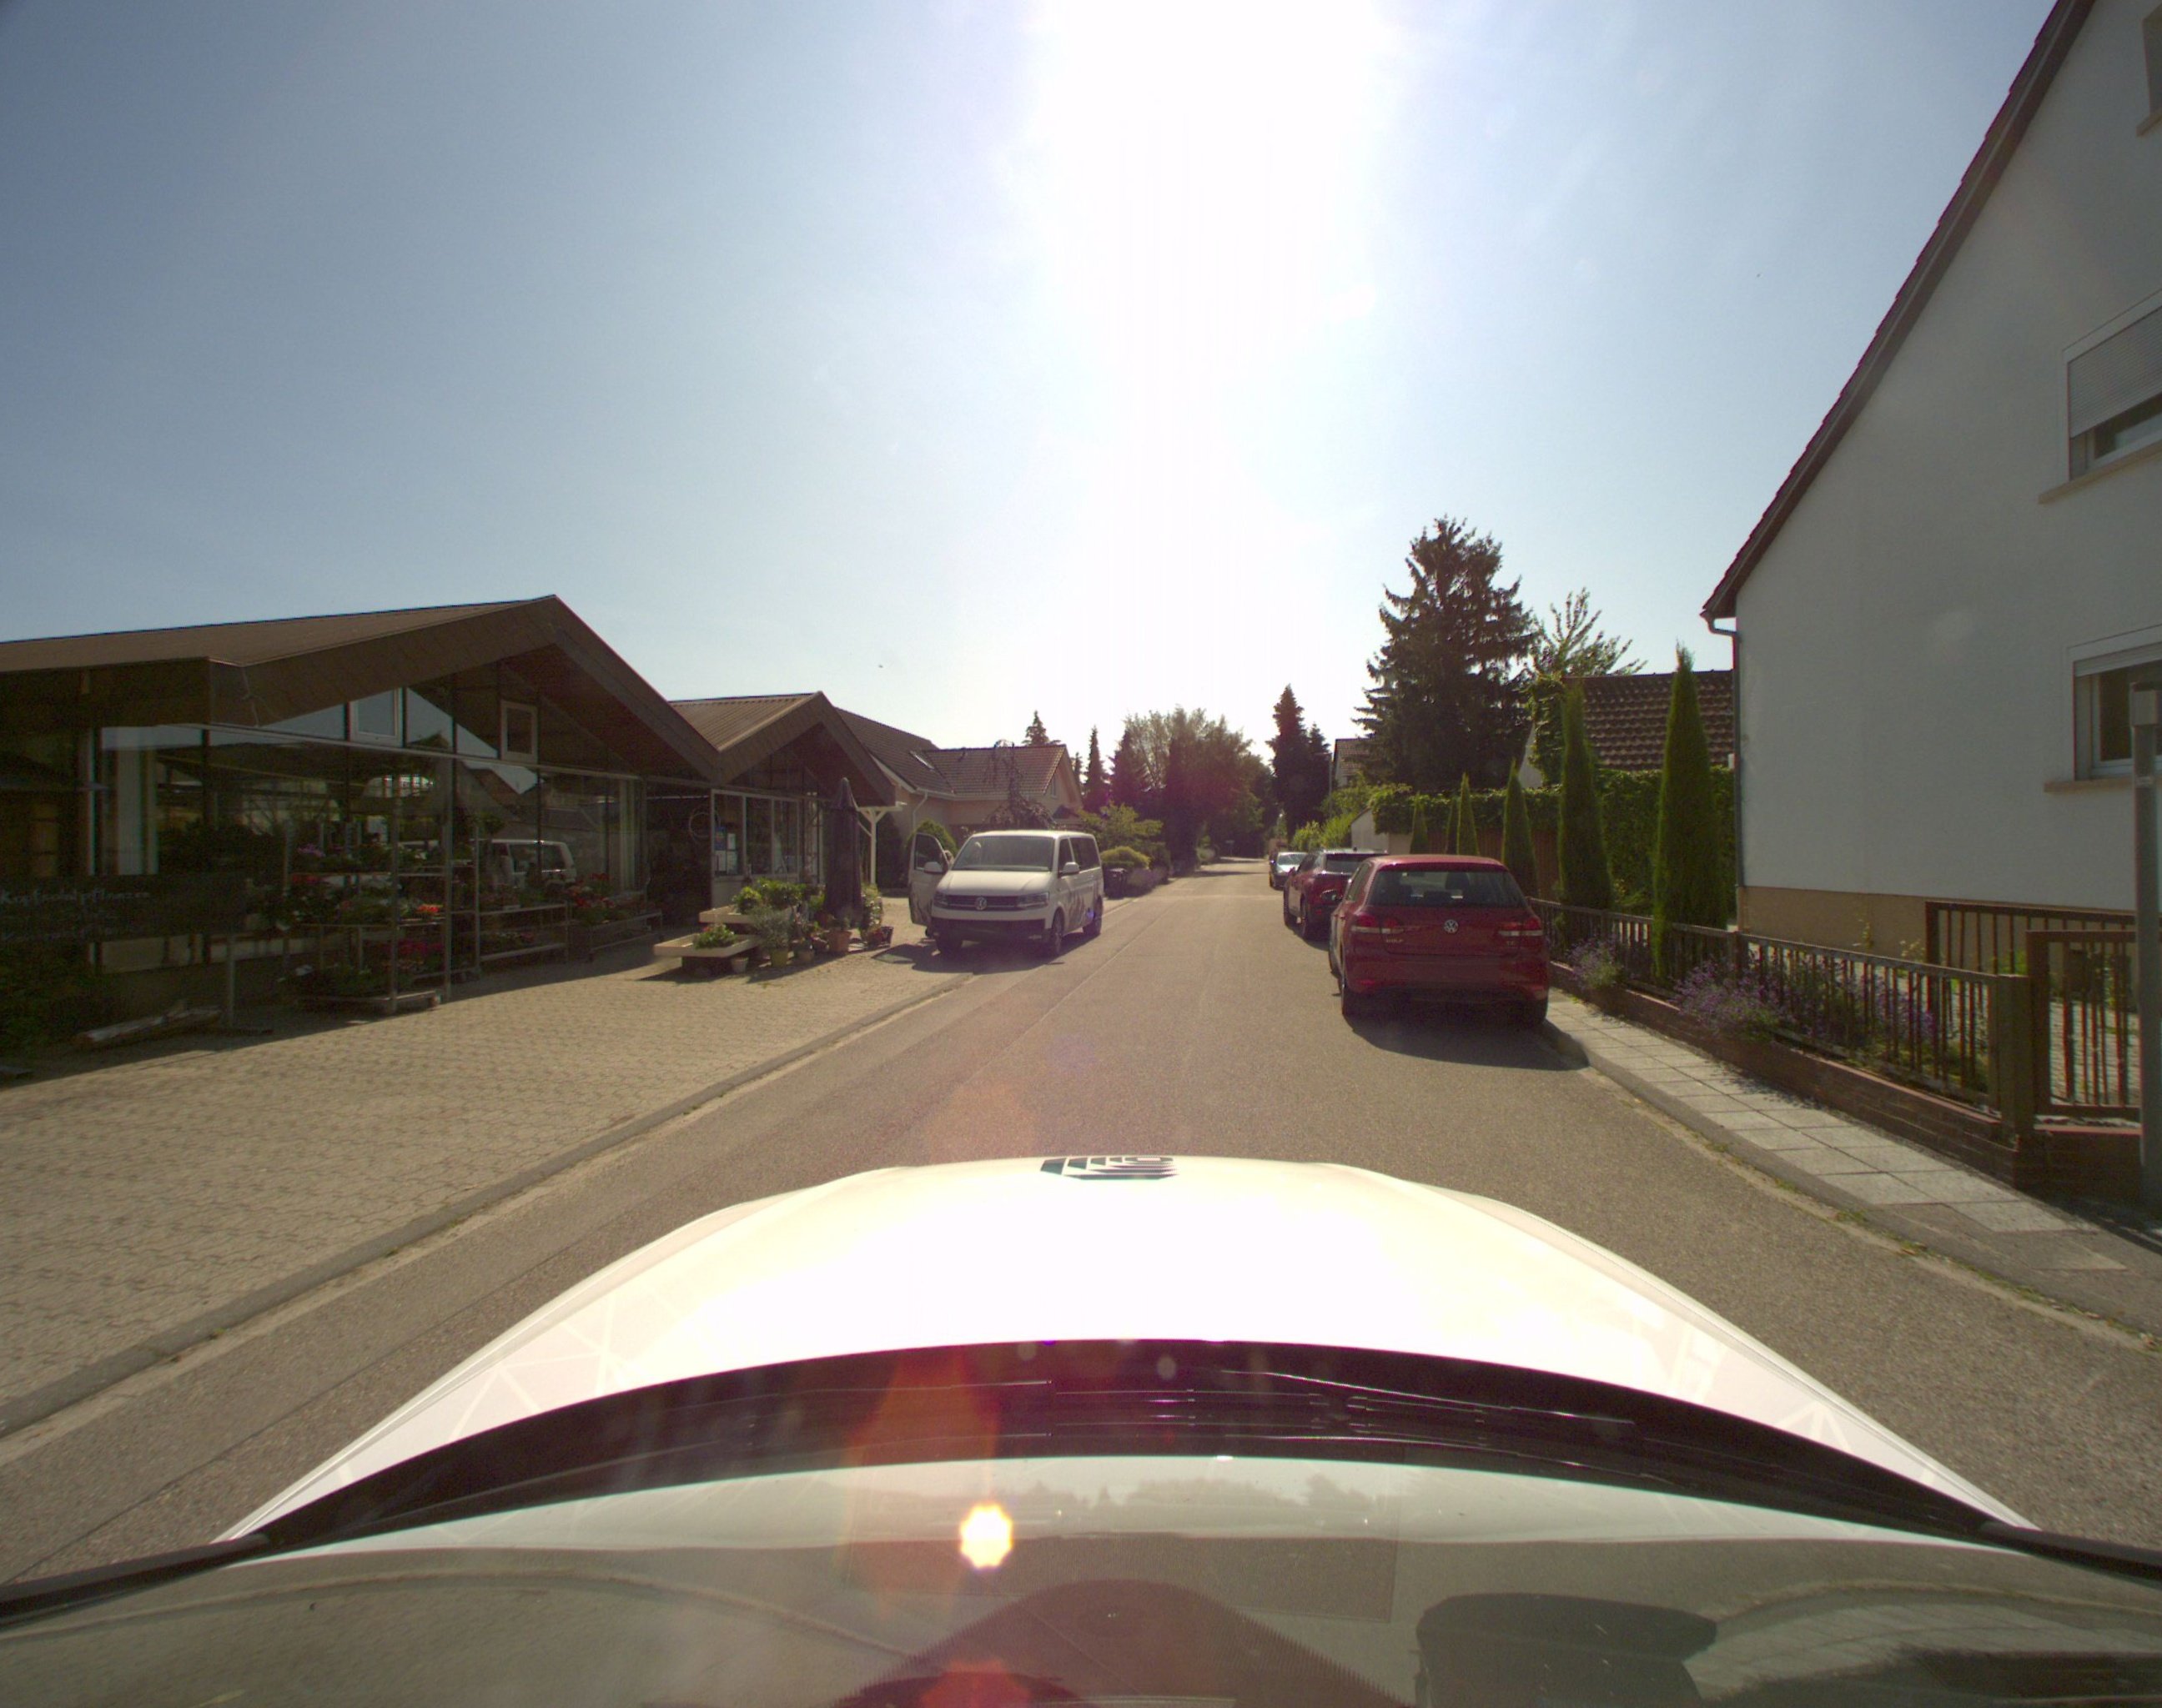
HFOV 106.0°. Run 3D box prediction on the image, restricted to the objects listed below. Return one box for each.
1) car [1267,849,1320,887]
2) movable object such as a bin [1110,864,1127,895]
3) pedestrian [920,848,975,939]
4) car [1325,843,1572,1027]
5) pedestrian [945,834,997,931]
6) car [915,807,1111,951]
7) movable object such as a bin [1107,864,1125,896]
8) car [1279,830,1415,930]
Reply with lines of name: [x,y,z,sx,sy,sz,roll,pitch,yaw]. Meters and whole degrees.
car: [8.192,0.514,31.698,1.692,1.399,4.011,0,0,10]
movable object such as a bin: [1.263,0.862,27.437,0.491,1.024,0.449,-2,-1,11]
pedestrian: [-2.340,0.666,14.299,0.710,1.538,0.646,-1,0,44]
car: [3.619,0.661,8.740,1.762,1.479,4.016,1,0,15]
pedestrian: [-2.019,0.513,15.004,0.683,1.731,0.646,-1,0,42]
car: [-0.903,0.377,13.984,1.915,2.014,4.913,-1,0,13]
movable object such as a bin: [1.159,0.868,26.982,0.491,1.024,0.449,-2,-1,11]
car: [4.835,0.435,15.360,1.812,1.615,4.010,0,0,9]
